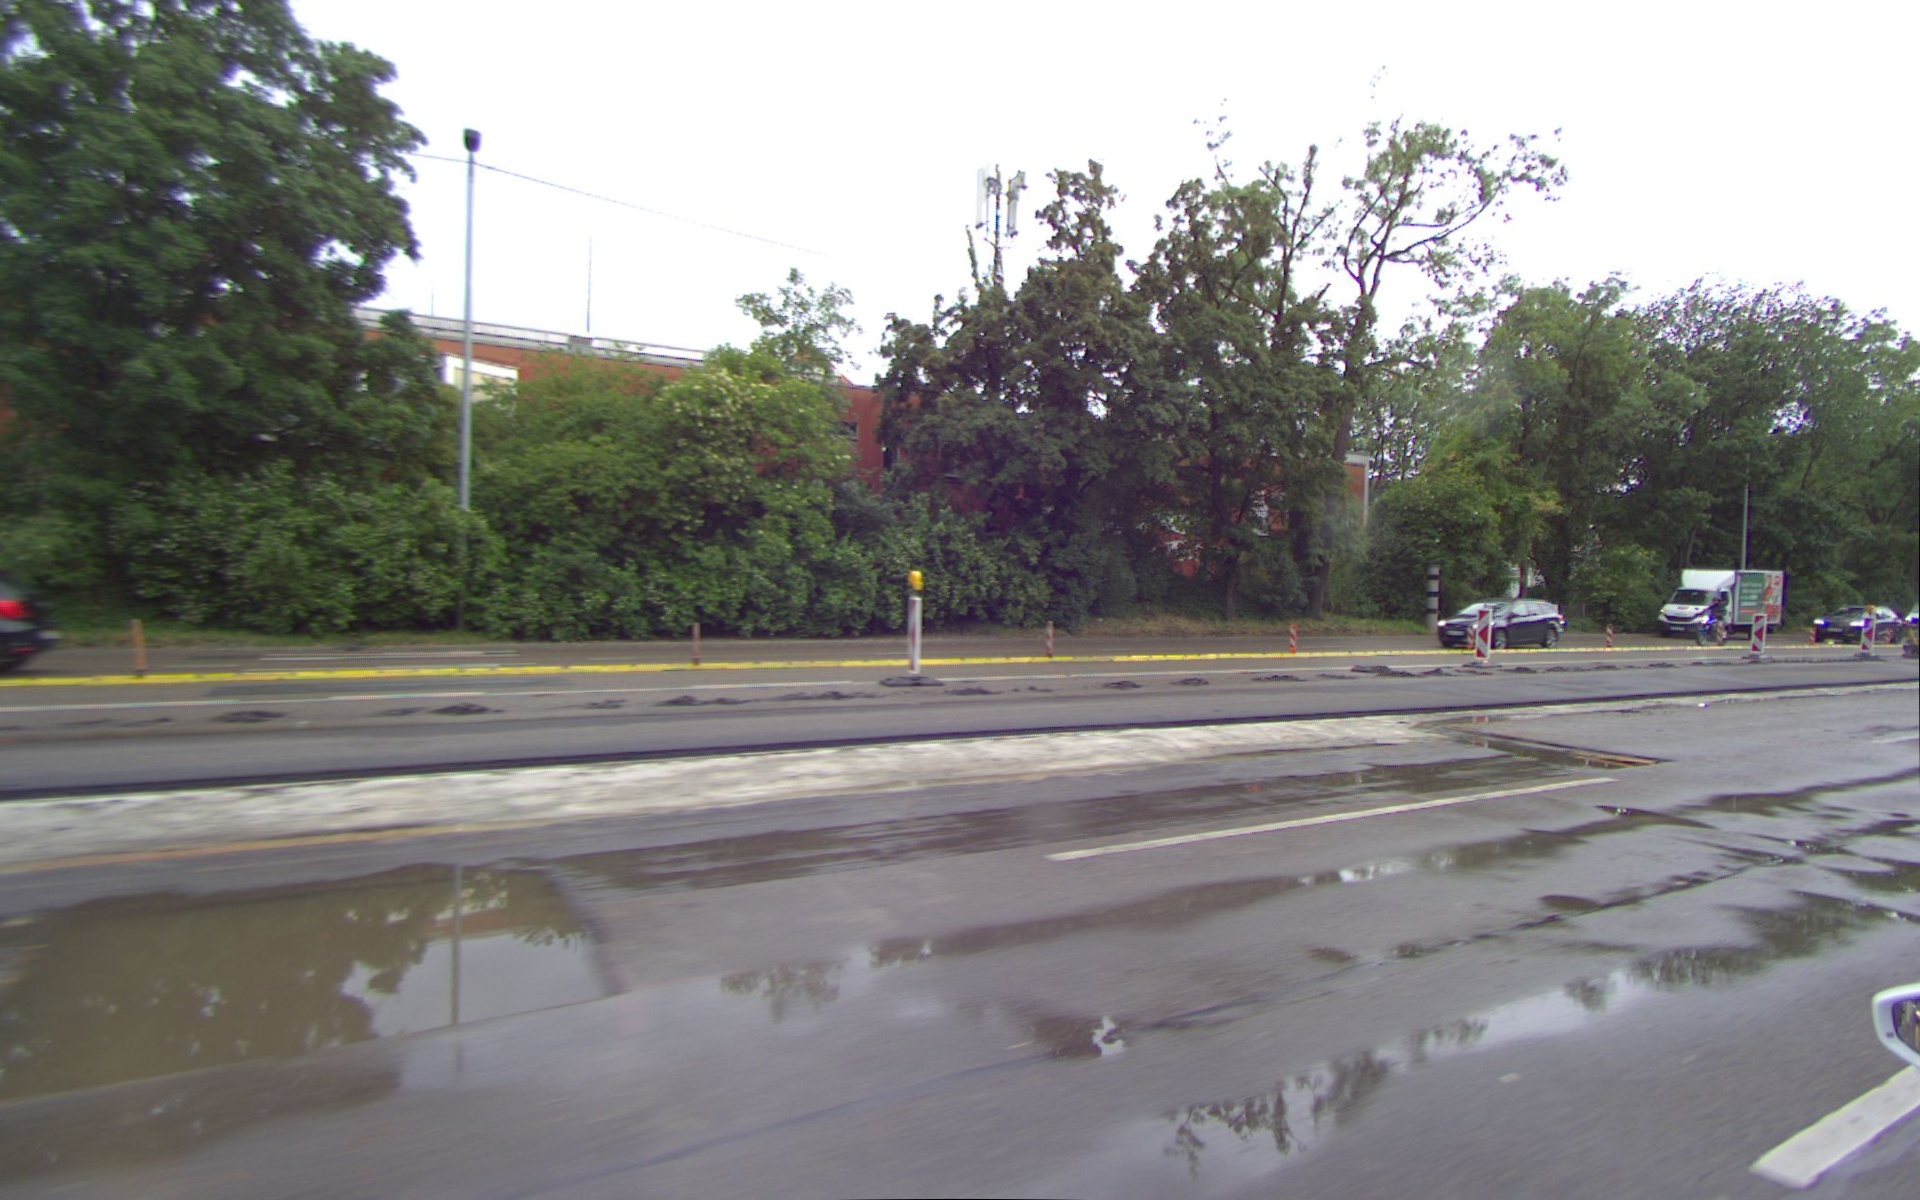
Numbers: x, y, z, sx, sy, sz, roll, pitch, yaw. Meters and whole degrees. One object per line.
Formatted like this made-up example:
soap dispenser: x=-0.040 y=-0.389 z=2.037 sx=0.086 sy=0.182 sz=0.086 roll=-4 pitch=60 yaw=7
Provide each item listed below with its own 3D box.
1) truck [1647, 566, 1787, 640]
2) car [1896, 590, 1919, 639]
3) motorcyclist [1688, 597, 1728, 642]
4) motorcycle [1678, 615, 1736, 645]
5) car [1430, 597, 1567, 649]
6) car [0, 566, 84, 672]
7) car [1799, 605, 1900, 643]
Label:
truck: x=32.730 y=0.164 z=43.373 sx=6.851 sy=2.979 sz=2.236 roll=1 pitch=1 yaw=-29
car: x=54.569 y=0.847 z=55.594 sx=6.770 sy=2.614 sz=2.090 roll=1 pitch=1 yaw=-29
motorcyclist: x=26.992 y=0.695 z=36.261 sx=0.916 sy=1.586 sz=0.824 roll=1 pitch=2 yaw=-30
motorcycle: x=26.967 y=1.078 z=36.262 sx=2.339 sy=1.028 sz=0.824 roll=1 pitch=2 yaw=-31
car: x=16.107 y=0.666 z=30.003 sx=4.271 sy=1.434 sz=1.661 roll=1 pitch=1 yaw=-31
car: x=-13.667 y=0.204 z=12.606 sx=3.819 sy=1.350 sz=1.439 roll=1 pitch=0 yaw=-33
car: x=38.877 y=1.050 z=43.895 sx=4.383 sy=1.551 sz=1.951 roll=1 pitch=1 yaw=-29
